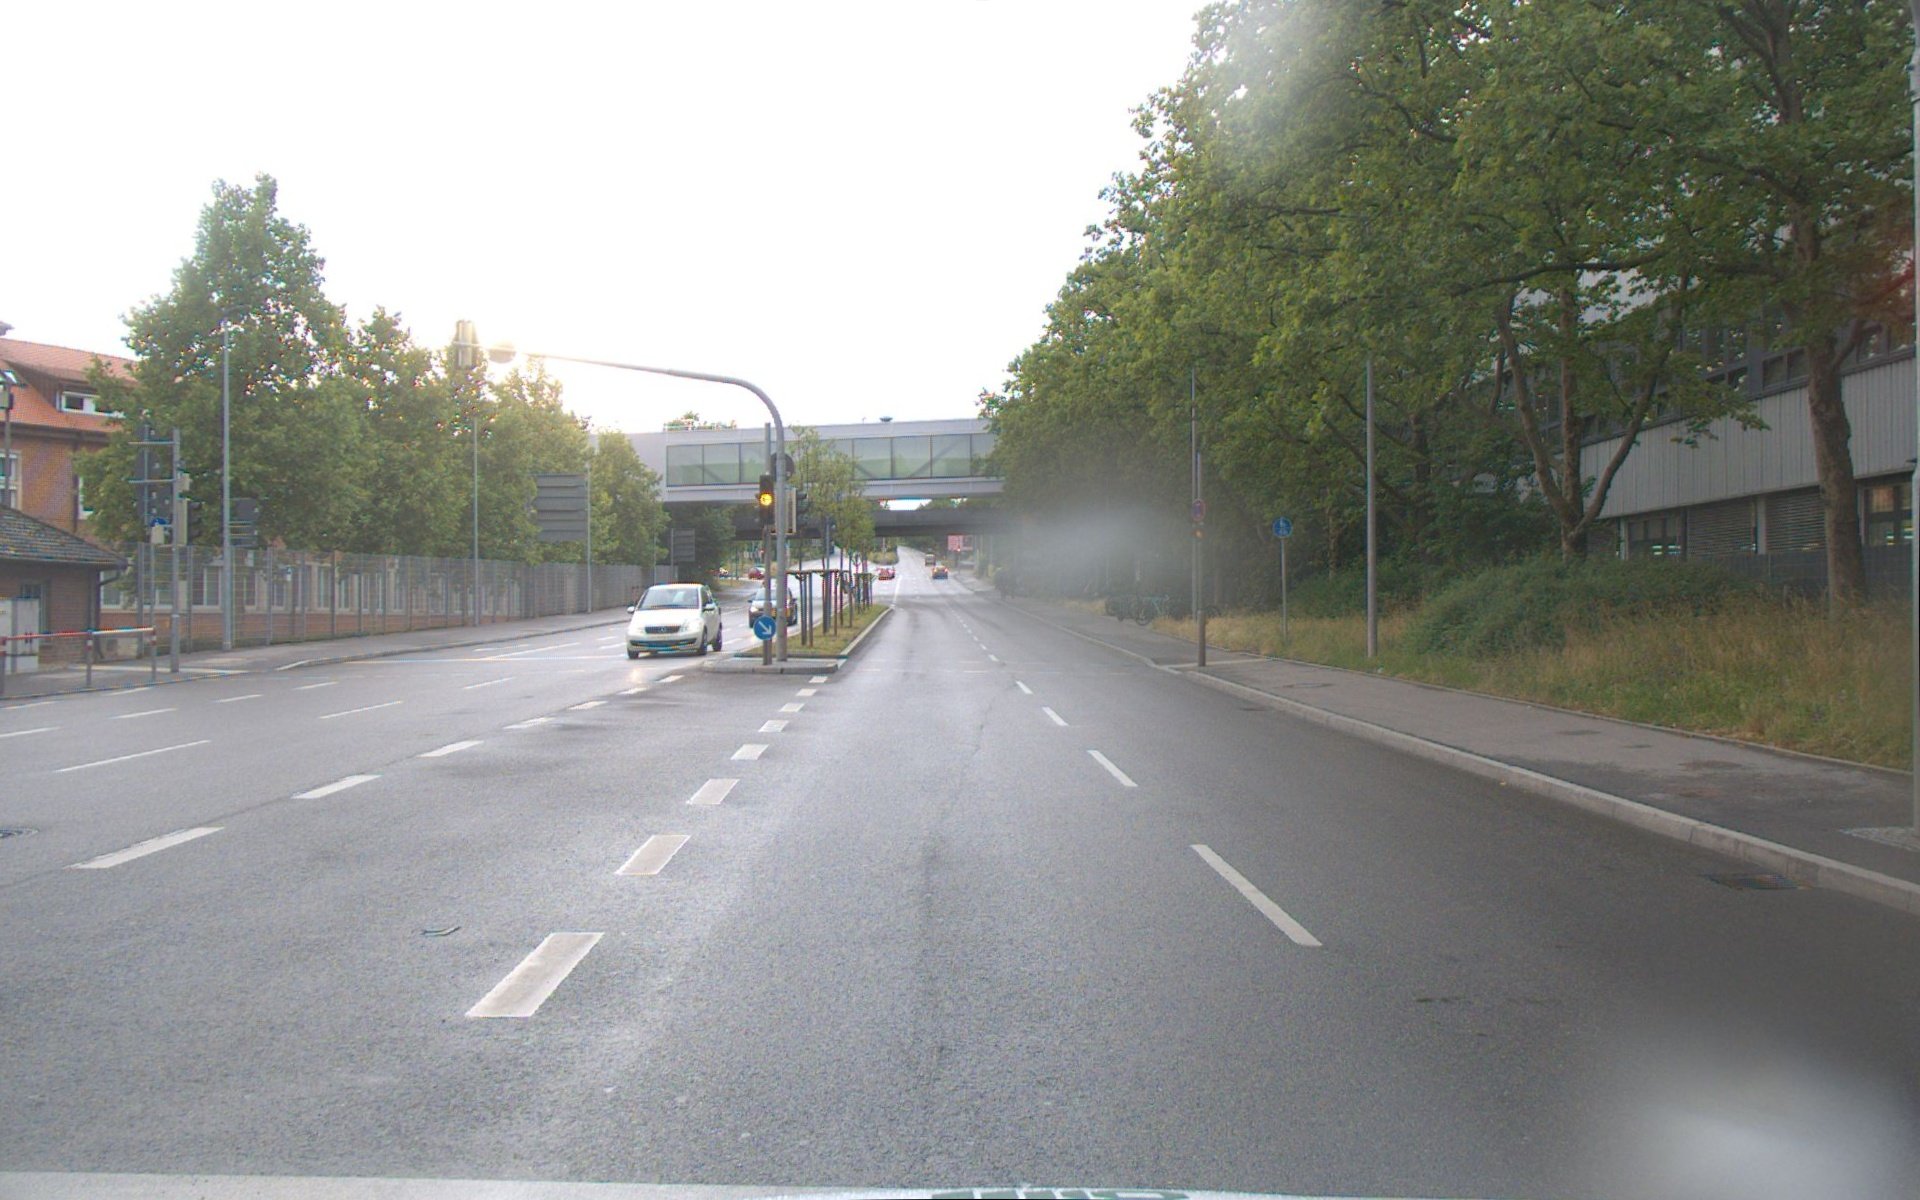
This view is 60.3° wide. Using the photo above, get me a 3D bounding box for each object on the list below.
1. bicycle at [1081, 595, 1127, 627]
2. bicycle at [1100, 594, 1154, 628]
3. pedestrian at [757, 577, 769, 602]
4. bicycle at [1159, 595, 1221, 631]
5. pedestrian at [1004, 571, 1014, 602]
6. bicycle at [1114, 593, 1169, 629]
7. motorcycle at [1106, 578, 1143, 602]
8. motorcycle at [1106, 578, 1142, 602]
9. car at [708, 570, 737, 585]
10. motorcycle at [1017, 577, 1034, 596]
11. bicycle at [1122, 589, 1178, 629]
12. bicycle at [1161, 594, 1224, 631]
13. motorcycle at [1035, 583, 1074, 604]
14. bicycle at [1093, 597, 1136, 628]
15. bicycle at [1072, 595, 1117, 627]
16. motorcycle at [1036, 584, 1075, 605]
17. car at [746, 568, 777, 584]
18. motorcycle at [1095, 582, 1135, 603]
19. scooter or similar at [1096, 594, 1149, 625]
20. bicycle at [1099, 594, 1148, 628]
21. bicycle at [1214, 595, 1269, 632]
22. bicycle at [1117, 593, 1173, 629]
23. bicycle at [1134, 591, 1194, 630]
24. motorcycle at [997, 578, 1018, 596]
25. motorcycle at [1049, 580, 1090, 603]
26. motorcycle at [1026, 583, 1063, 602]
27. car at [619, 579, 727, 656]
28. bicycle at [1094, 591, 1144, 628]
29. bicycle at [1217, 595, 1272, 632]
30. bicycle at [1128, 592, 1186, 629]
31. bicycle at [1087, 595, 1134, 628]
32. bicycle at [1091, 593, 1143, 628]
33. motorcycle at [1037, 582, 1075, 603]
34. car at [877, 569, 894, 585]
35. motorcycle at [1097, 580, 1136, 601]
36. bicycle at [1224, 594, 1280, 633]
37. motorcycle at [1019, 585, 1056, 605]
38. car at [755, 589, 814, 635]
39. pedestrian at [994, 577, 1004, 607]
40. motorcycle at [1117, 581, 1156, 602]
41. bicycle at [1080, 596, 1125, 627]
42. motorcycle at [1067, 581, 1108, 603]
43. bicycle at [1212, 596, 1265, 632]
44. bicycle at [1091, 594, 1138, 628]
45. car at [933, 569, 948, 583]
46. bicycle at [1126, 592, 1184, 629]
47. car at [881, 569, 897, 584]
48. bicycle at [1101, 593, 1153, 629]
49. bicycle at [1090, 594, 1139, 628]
[{"bbox_3d":[6.334,0.498,72.733,1.923,1.352,0.654,2,-1,0],"label":"bicycle"},{"bbox_3d":[6.380,0.420,63.248,1.949,1.263,0.541,2,-1,0],"label":"bicycle"},{"bbox_3d":[-16.085,-0.845,135.359,0.854,2.039,0.854,-1,0,-2],"label":"pedestrian"},{"bbox_3d":[7.586,0.419,54.526,1.949,1.114,0.541,2,-1,0],"label":"bicycle"},{"bbox_3d":[3.332,-0.902,111.564,0.609,2.049,0.605,-1,0,-1],"label":"pedestrian"},{"bbox_3d":[6.790,0.415,61.880,1.949,1.263,0.541,2,-1,0],"label":"bicycle"},{"bbox_3d":[10.680,-0.644,107.197,2.318,1.502,0.723,-1,0,7],"label":"motorcycle"},{"bbox_3d":[10.765,-0.670,108.433,2.318,1.502,0.723,-1,0,7],"label":"motorcycle"},{"bbox_3d":[-32.538,-3.096,226.426,1.985,2.049,3.935,3,-1,-44],"label":"car"},{"bbox_3d":[4.828,-0.985,122.021,0.775,1.334,2.371,-1,0,-9],"label":"motorcycle"},{"bbox_3d":[6.914,0.330,60.243,1.949,1.364,0.541,2,-1,0],"label":"bicycle"},{"bbox_3d":[7.594,0.412,53.957,1.949,1.114,0.541,2,-1,0],"label":"bicycle"},{"bbox_3d":[5.699,-0.382,99.846,2.318,1.223,0.723,-1,0,7],"label":"motorcycle"},{"bbox_3d":[7.093,0.565,75.965,1.923,1.352,0.654,2,-1,0],"label":"bicycle"},{"bbox_3d":[5.997,0.500,73.641,1.923,1.352,0.654,2,-1,0],"label":"bicycle"},{"bbox_3d":[5.799,-0.358,100.705,2.318,1.223,0.723,-1,0,7],"label":"motorcycle"},{"bbox_3d":[-26.514,-3.186,220.898,3.931,2.049,1.987,1,-1,44],"label":"car"},{"bbox_3d":[9.413,-0.465,100.380,2.318,1.223,0.723,-1,0,7],"label":"motorcycle"},{"bbox_3d":[6.275,0.373,63.838,1.949,1.157,0.541,2,-1,0],"label":"scooter or similar"},{"bbox_3d":[6.782,0.457,68.500,1.949,1.352,0.576,2,-1,0],"label":"bicycle"},{"bbox_3d":[10.791,0.531,63.403,1.949,1.352,0.576,2,-1,0],"label":"bicycle"},{"bbox_3d":[6.809,0.403,60.932,1.949,1.263,0.541,2,-1,0],"label":"bicycle"},{"bbox_3d":[6.897,0.354,55.975,1.949,1.237,0.541,2,-1,0],"label":"bicycle"},{"bbox_3d":[3.592,-0.979,125.452,0.778,1.334,2.364,-1,0,-19],"label":"motorcycle"},{"bbox_3d":[6.313,-0.494,95.414,2.318,1.223,0.723,-1,0,7],"label":"motorcycle"},{"bbox_3d":[5.509,-0.492,108.062,2.318,1.223,0.793,-1,0,7],"label":"motorcycle"},{"bbox_3d":[-6.521,0.374,37.981,1.839,1.653,3.778,-1,0,-1],"label":"car"},{"bbox_3d":[6.501,0.385,67.642,1.949,1.455,0.723,2,-1,0],"label":"bicycle"},{"bbox_3d":[10.786,0.523,62.755,1.949,1.352,0.576,2,-1,0],"label":"bicycle"},{"bbox_3d":[6.930,0.375,58.165,1.949,1.255,0.541,2,-1,0],"label":"bicycle"},{"bbox_3d":[6.475,0.482,71.133,1.923,1.352,0.654,2,-1,0],"label":"bicycle"},{"bbox_3d":[6.259,0.419,65.961,1.949,1.352,0.576,2,-1,0],"label":"bicycle"},{"bbox_3d":[5.903,-0.465,101.621,2.318,1.223,0.723,-1,0,7],"label":"motorcycle"},{"bbox_3d":[-9.269,-2.876,206.646,1.953,1.792,3.999,2,-1,-1],"label":"car"},{"bbox_3d":[9.563,-0.588,101.265,2.318,1.223,0.723,-1,0,7],"label":"motorcycle"},{"bbox_3d":[10.825,0.505,61.327,1.949,1.352,0.576,2,-1,0],"label":"bicycle"},{"bbox_3d":[5.006,-0.347,106.357,2.318,1.223,0.723,-1,0,7],"label":"motorcycle"},{"bbox_3d":[-6.630,0.437,62.744,1.839,1.653,3.778,-1,0,-1],"label":"car"},{"bbox_3d":[2.612,-0.540,111.602,0.609,2.049,0.605,-1,0,-1],"label":"pedestrian"},{"bbox_3d":[10.583,-0.511,99.089,2.318,1.223,0.723,-1,0,7],"label":"motorcycle"},{"bbox_3d":[6.420,0.524,74.452,1.923,1.352,0.654,2,-1,0],"label":"bicycle"},{"bbox_3d":[7.477,-0.476,96.907,2.318,1.223,0.723,-1,0,7],"label":"motorcycle"},{"bbox_3d":[10.791,0.540,64.072,1.949,1.352,0.576,2,-1,0],"label":"bicycle"},{"bbox_3d":[6.570,0.476,70.445,1.920,1.352,0.576,2,-1,0],"label":"bicycle"},{"bbox_3d":[-2.375,-2.980,202.943,1.837,1.523,4.067,2,-1,-1],"label":"car"},{"bbox_3d":[6.934,0.379,58.788,1.949,1.263,0.541,2,-1,0],"label":"bicycle"},{"bbox_3d":[-9.007,-3.001,211.050,1.846,1.792,3.968,2,-1,-1],"label":"car"},{"bbox_3d":[6.588,0.419,65.157,1.949,1.352,0.576,2,-1,0],"label":"bicycle"},{"bbox_3d":[6.450,0.468,69.206,1.949,1.352,0.576,2,-1,0],"label":"bicycle"}]
